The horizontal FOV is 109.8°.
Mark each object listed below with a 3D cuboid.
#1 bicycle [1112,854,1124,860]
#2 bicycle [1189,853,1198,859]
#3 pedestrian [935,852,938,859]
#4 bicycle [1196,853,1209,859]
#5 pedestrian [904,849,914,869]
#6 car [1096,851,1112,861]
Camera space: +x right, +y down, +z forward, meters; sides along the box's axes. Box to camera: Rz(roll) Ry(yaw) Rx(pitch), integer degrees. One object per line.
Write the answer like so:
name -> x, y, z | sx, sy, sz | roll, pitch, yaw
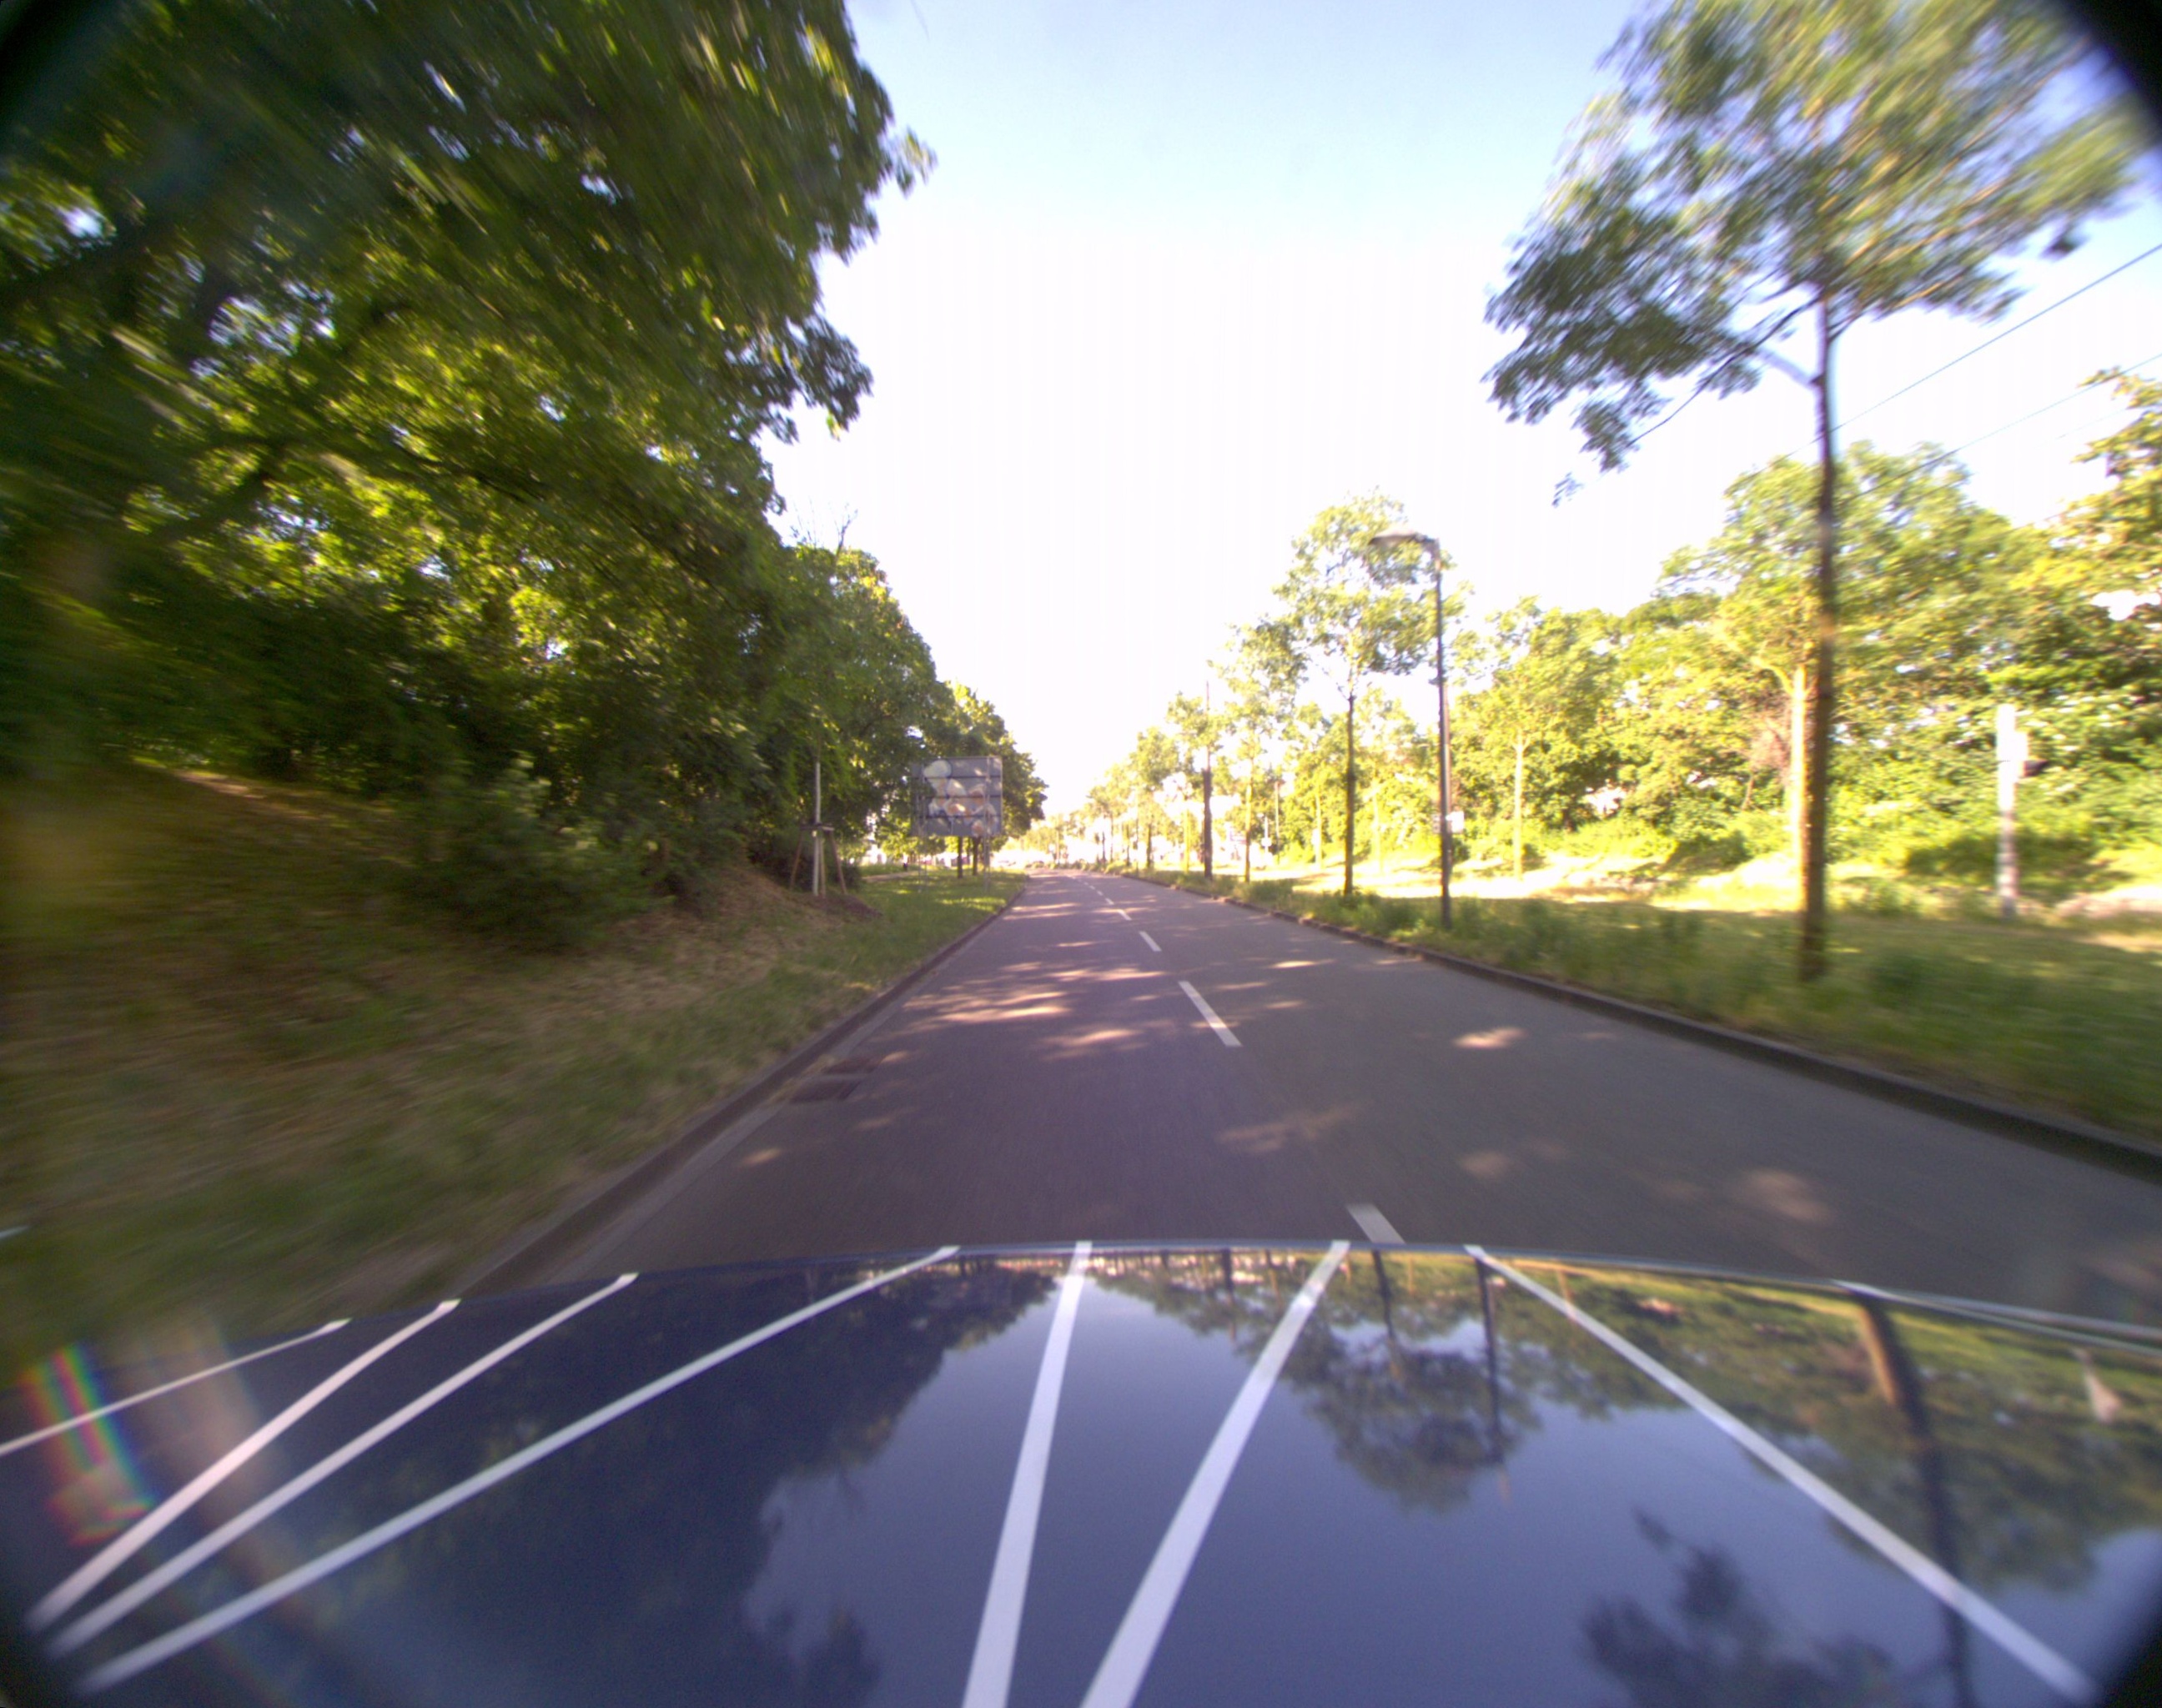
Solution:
bicycle -> 8.572, 0.685, 175.675 | 2.582, 1.301, 0.662 | -1, 0, -18
bicycle -> 23.370, 0.451, 158.133 | 0.720, 1.205, 2.549 | -1, 0, -17
pedestrian -> -35.966, 0.377, 188.832 | 0.733, 1.687, 0.734 | -1, 0, -16
bicycle -> 25.097, 0.437, 156.781 | 2.554, 1.205, 0.718 | -1, 0, -17
pedestrian -> -15.820, 0.447, 69.891 | 0.718, 1.793, 0.793 | -1, 1, -6
car -> 4.589, 0.433, 152.474 | 1.826, 1.630, 4.485 | -1, -3, -16
